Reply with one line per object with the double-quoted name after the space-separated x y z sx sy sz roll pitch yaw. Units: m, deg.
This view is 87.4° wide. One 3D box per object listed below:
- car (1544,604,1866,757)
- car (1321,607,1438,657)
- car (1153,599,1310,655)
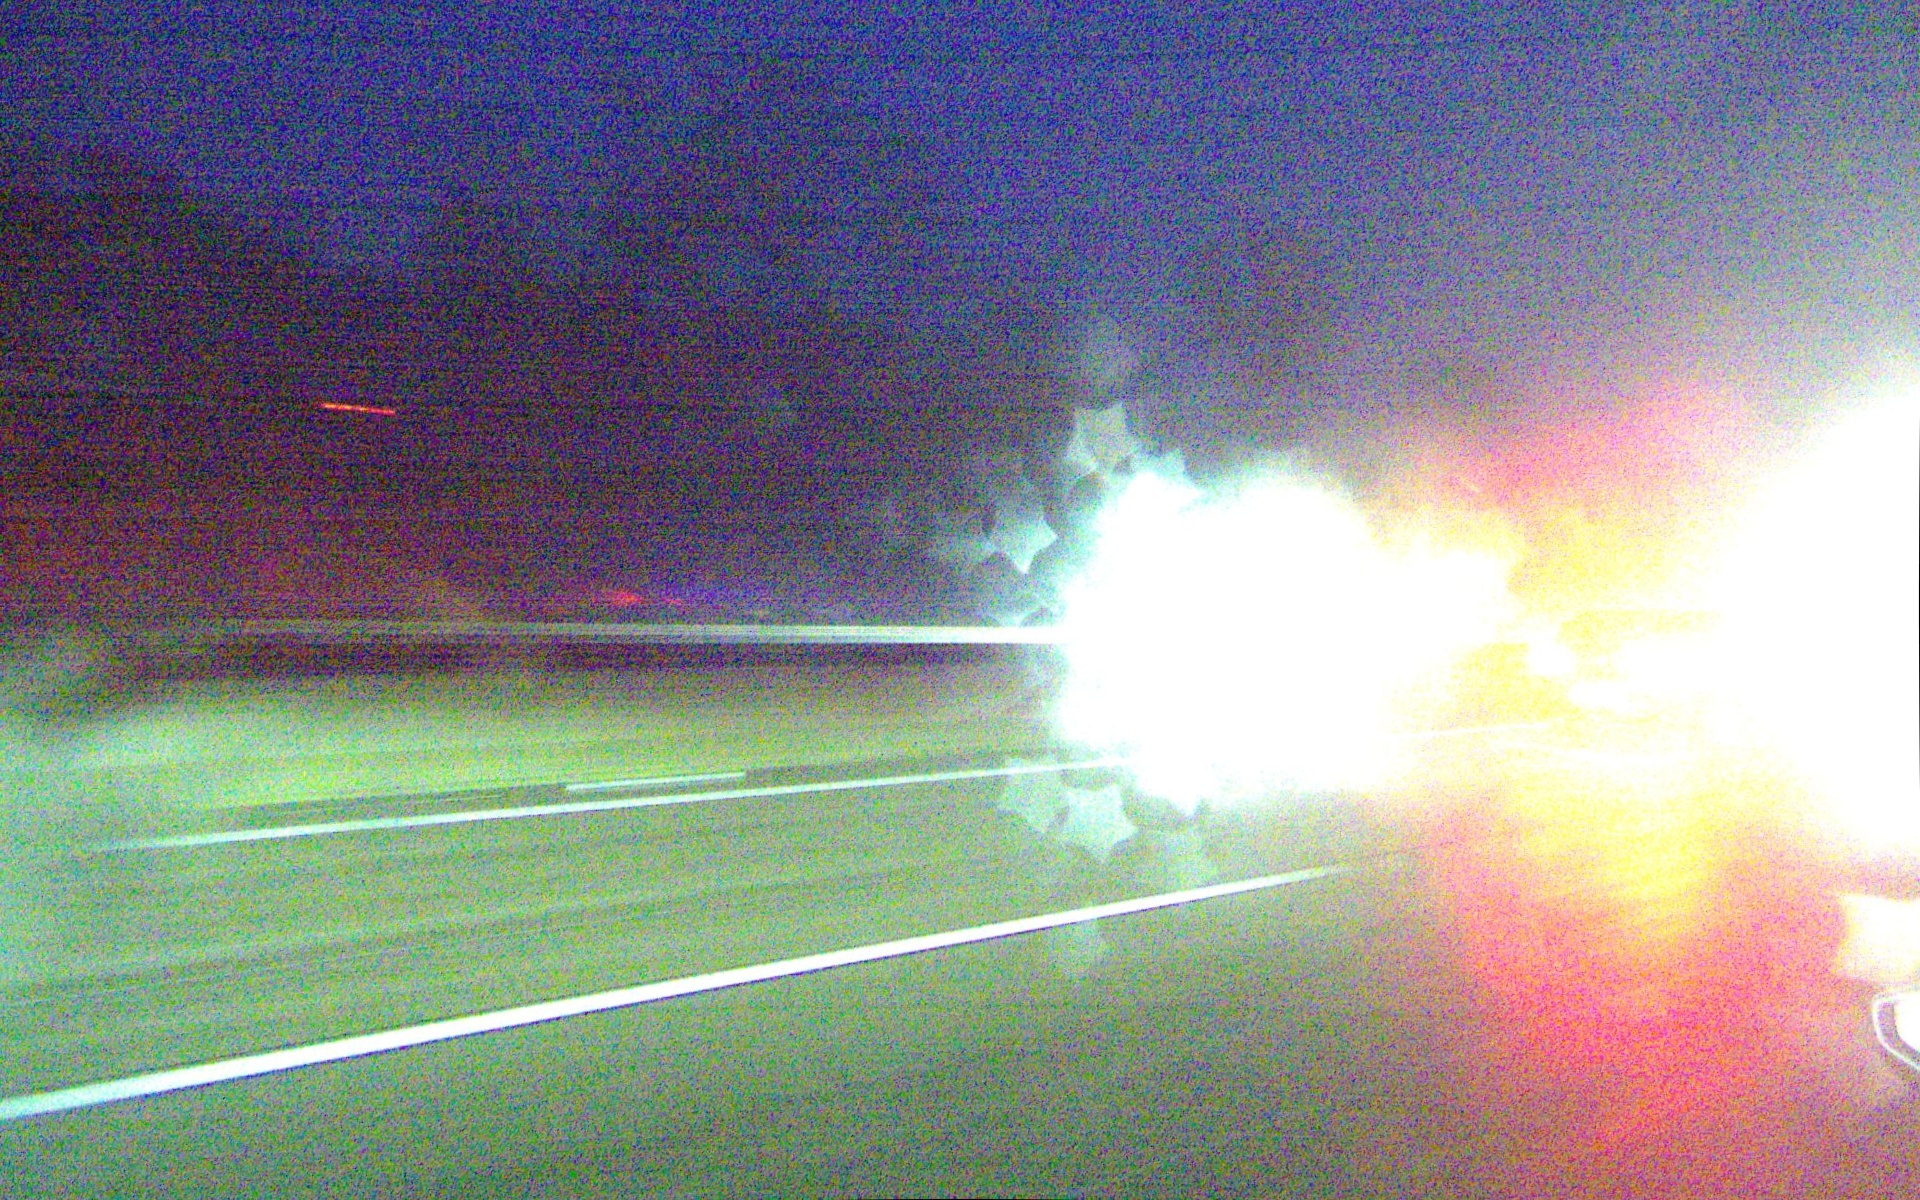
9.831 0.951 13.142 4.701 1.561 1.846 2 3 -34 "car"
14.681 1.118 35.106 3.955 1.654 1.762 2 0 -32 "car"
6.822 0.673 25.096 4.026 1.283 1.397 2 0 -32 "car"
